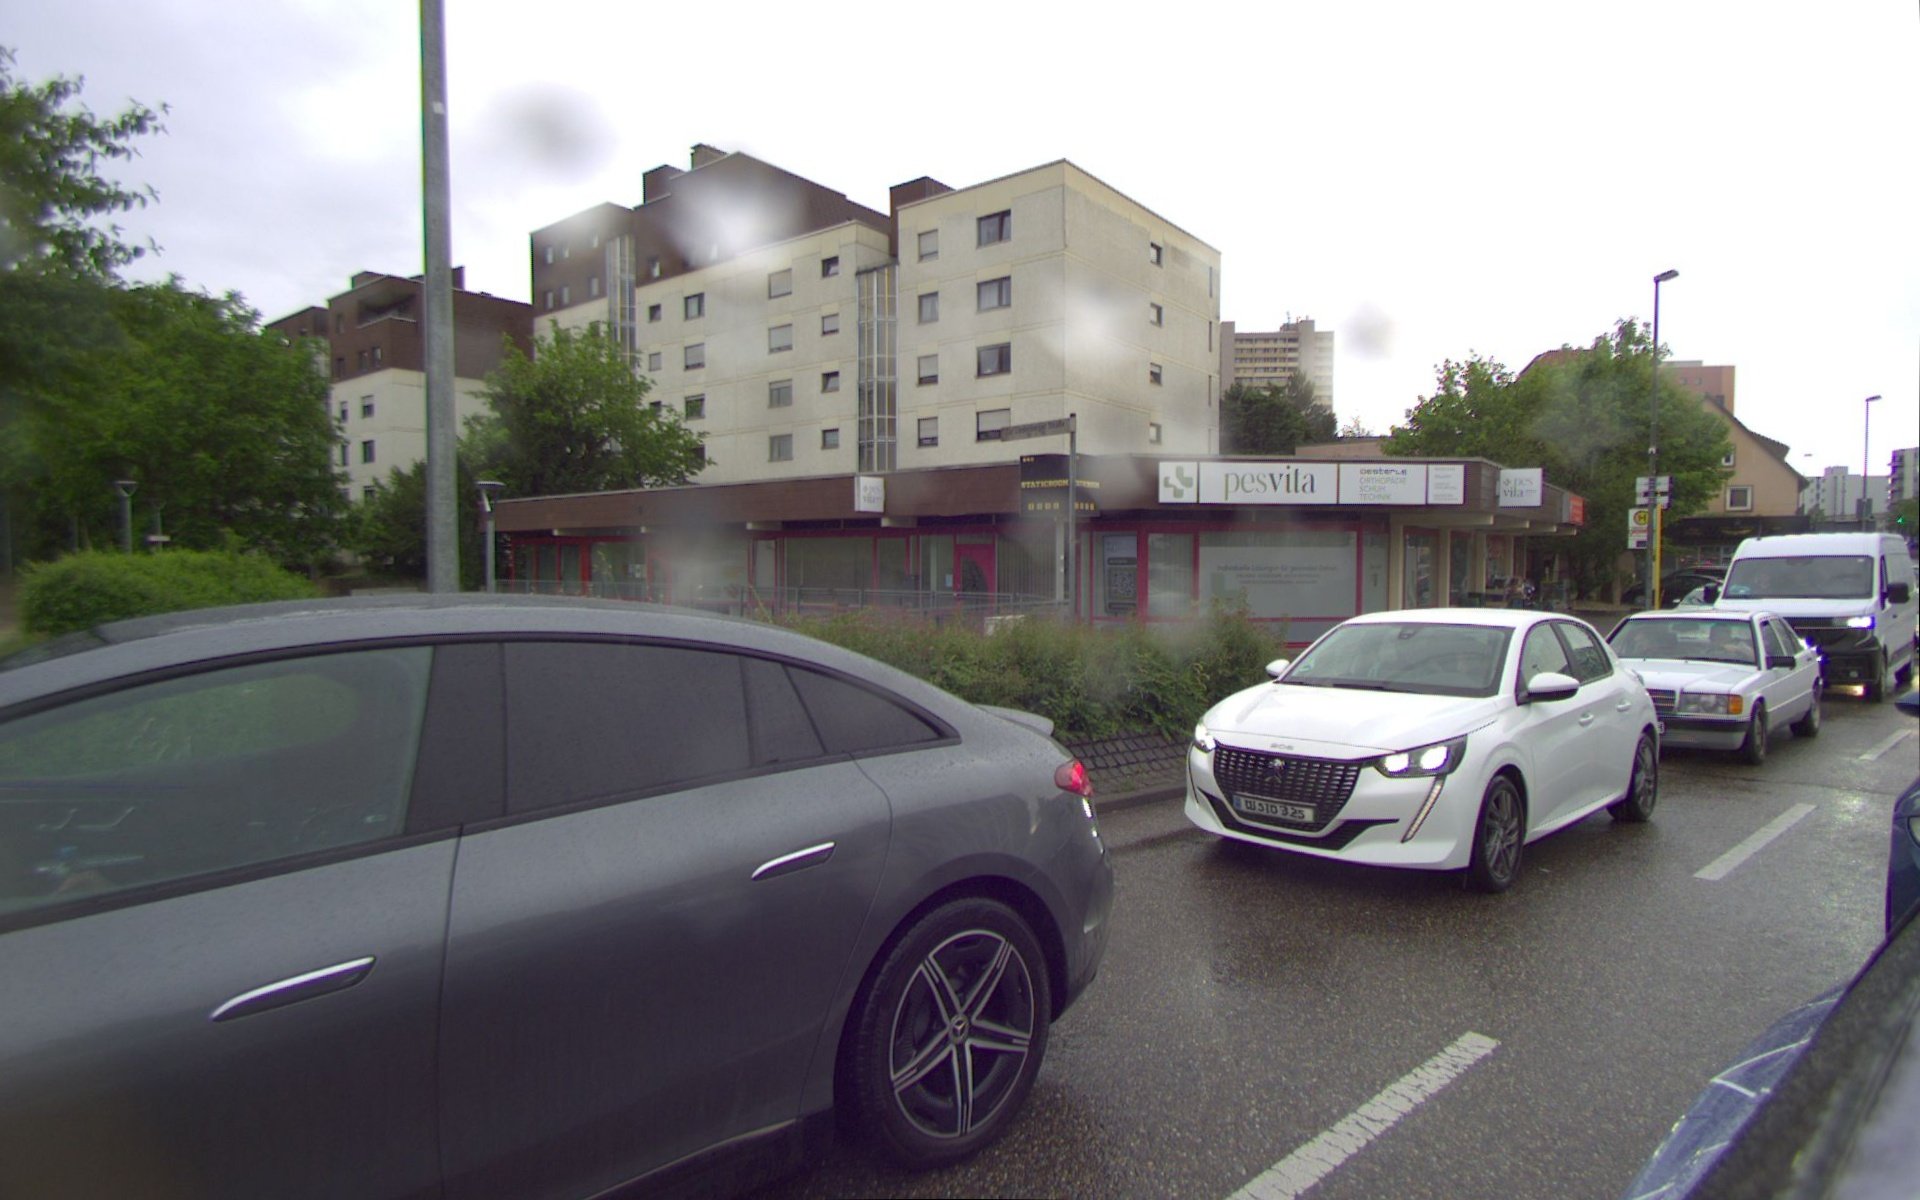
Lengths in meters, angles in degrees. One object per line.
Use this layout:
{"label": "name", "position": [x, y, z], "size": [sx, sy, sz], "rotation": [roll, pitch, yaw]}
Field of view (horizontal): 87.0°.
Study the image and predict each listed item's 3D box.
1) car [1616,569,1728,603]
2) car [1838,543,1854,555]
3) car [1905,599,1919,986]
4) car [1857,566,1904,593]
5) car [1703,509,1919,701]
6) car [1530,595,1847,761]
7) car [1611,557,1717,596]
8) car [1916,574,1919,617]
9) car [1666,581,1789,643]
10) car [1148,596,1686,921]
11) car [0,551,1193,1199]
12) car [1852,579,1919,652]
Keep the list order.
{"label": "car", "position": [31.869, -0.639, 45.322], "size": [3.981, 1.445, 1.858], "rotation": [2, 2, 39]}
{"label": "car", "position": [139.443, -8.019, 159.351], "size": [1.657, 1.654, 3.754], "rotation": [1, 1, 37]}
{"label": "car", "position": [5.475, 0.697, 4.440], "size": [3.933, 1.406, 1.690], "rotation": [-1, 1, -43]}
{"label": "car", "position": [63.750, -1.404, 70.054], "size": [3.930, 1.776, 1.879], "rotation": [0, 3, -41]}
{"label": "car", "position": [13.984, -0.017, 16.318], "size": [6.021, 2.549, 2.194], "rotation": [-2, 2, -43]}
{"label": "car", "position": [7.731, 0.656, 10.597], "size": [4.089, 1.362, 1.787], "rotation": [-1, 1, -41]}
{"label": "car", "position": [33.114, -1.125, 47.671], "size": [3.981, 1.801, 1.858], "rotation": [2, 2, 39]}
{"label": "car", "position": [37.870, -0.216, 38.454], "size": [3.933, 1.588, 1.996], "rotation": [-2, 1, -43]}
{"label": "car", "position": [20.253, 0.259, 26.654], "size": [3.930, 1.509, 1.787], "rotation": [-1, 1, -41]}
{"label": "car", "position": [3.148, 0.710, 6.562], "size": [4.043, 1.433, 1.665], "rotation": [-1, 1, -41]}
{"label": "car", "position": [-1.608, 0.679, 2.429], "size": [4.724, 1.485, 1.840], "rotation": [0, -1, -41]}
{"label": "car", "position": [22.148, 0.314, 23.359], "size": [3.930, 1.558, 1.802], "rotation": [-1, 2, -41]}
